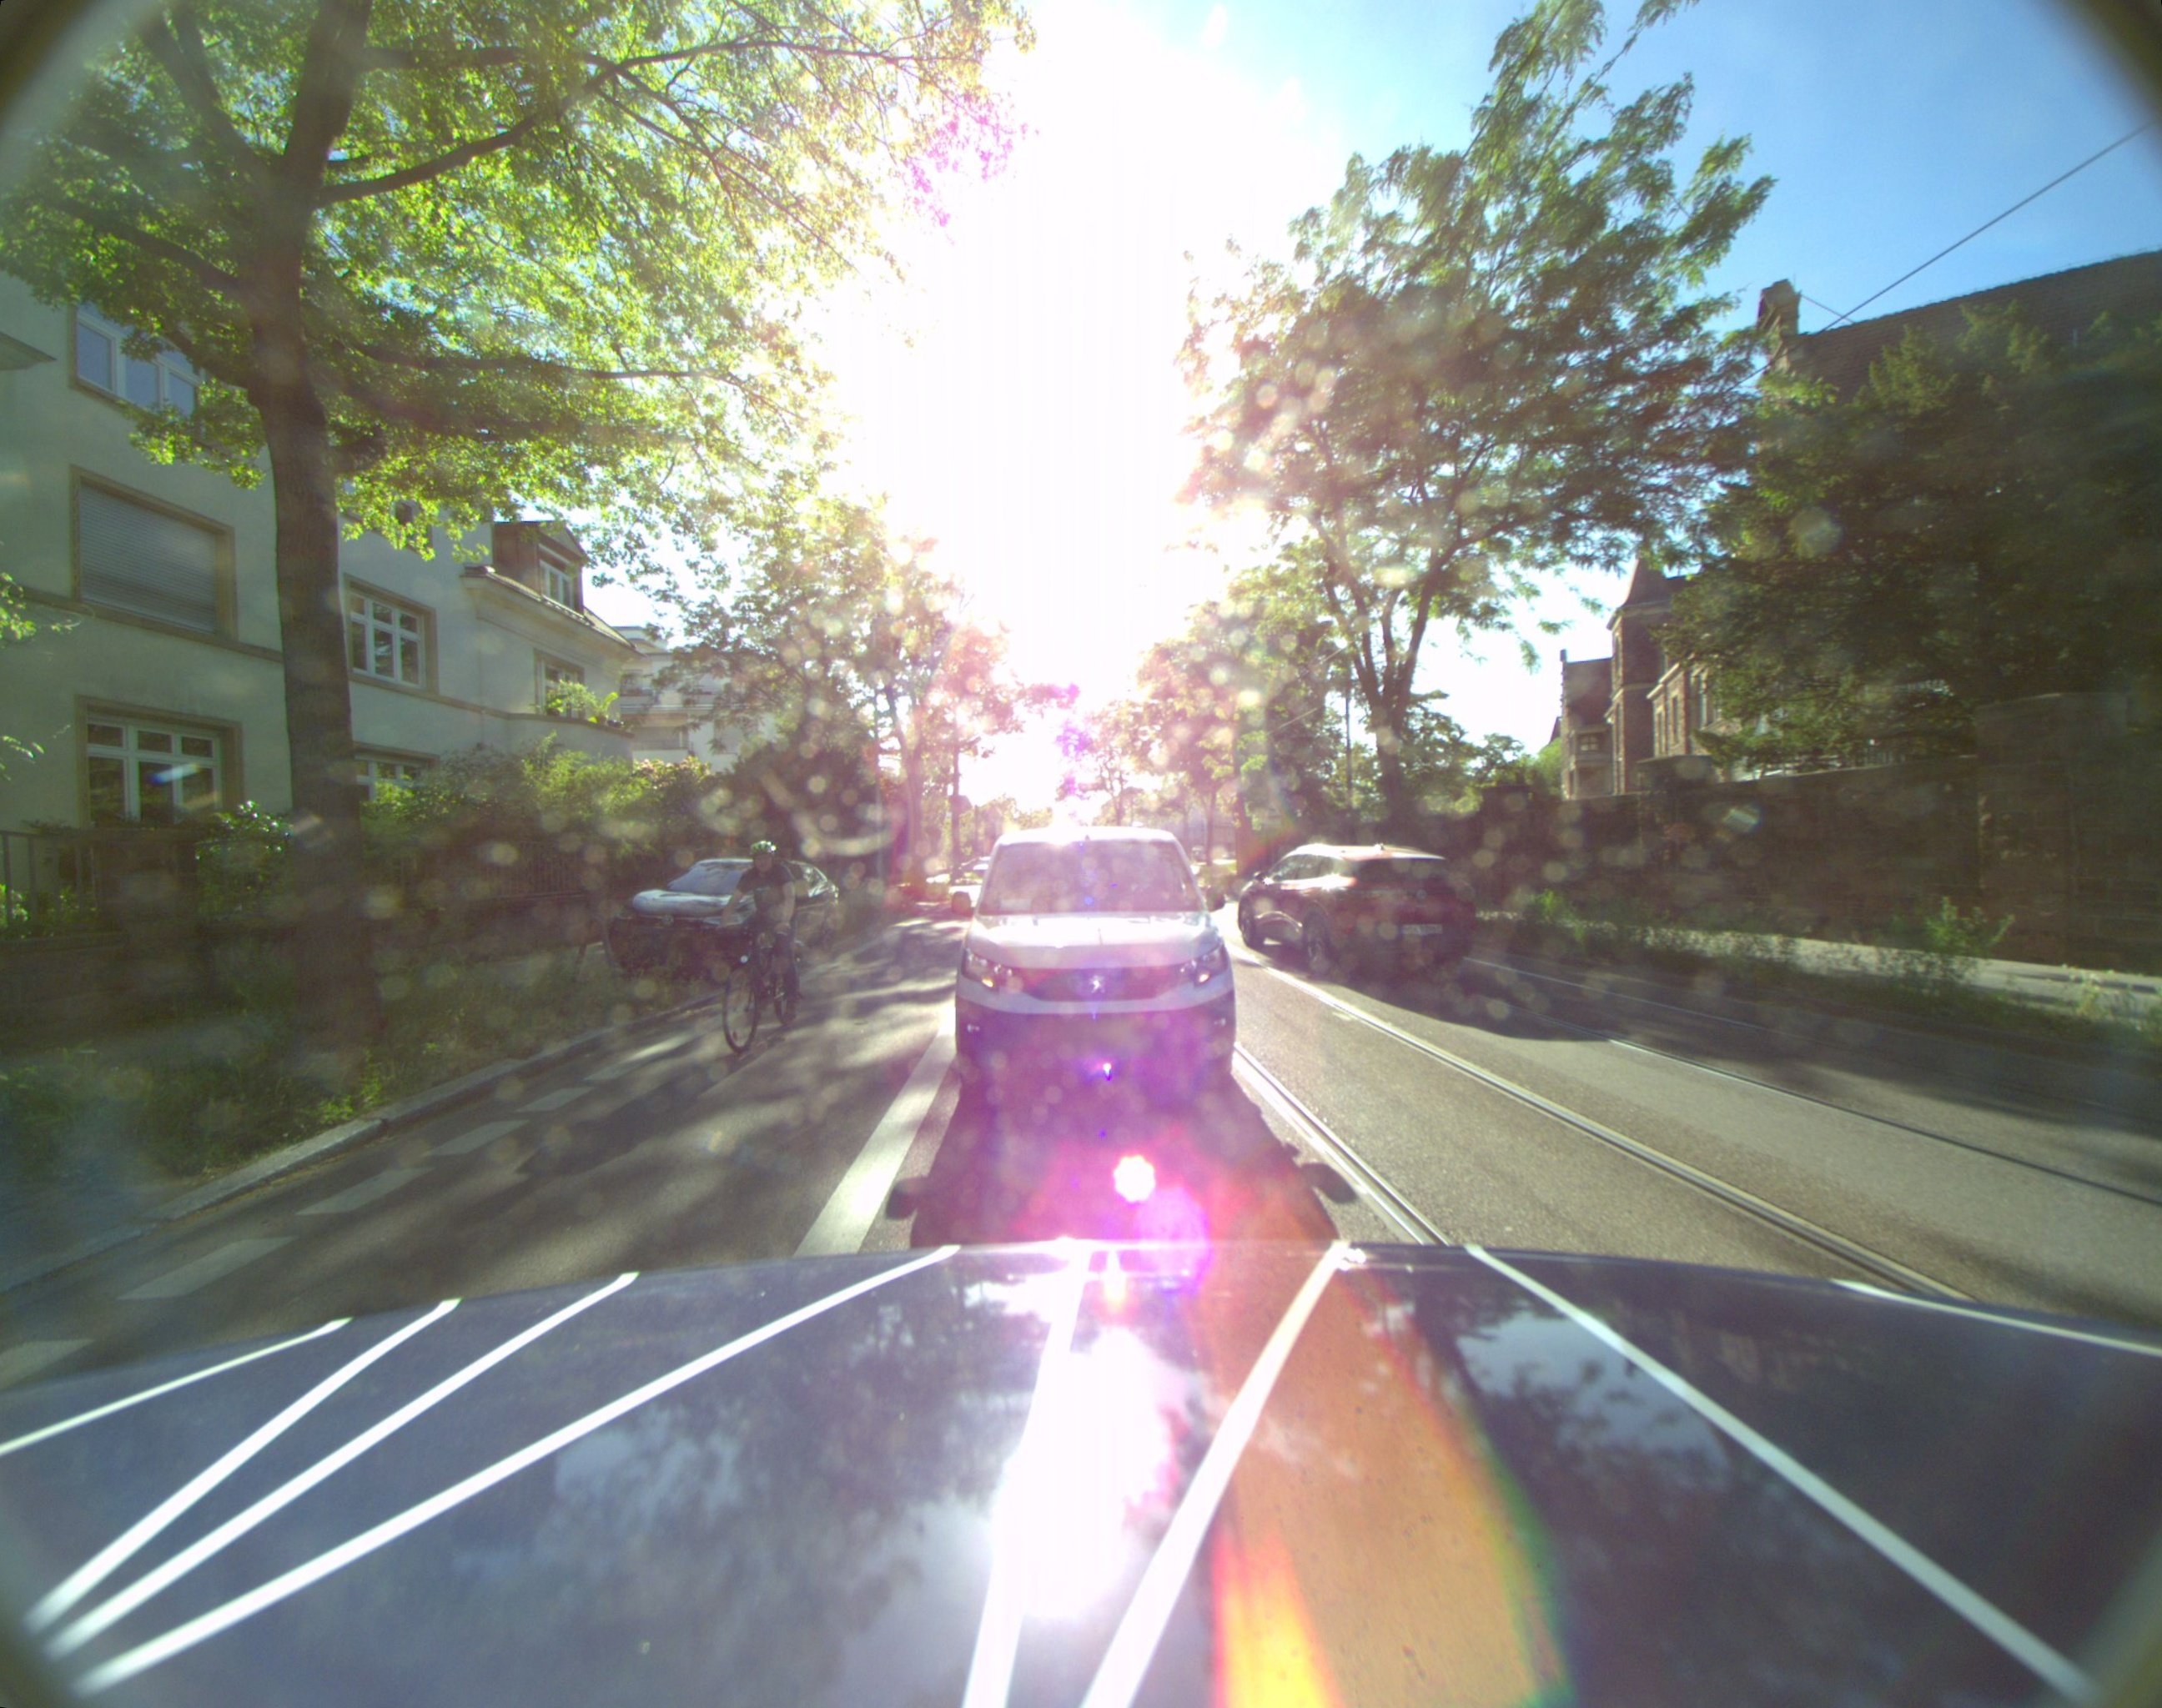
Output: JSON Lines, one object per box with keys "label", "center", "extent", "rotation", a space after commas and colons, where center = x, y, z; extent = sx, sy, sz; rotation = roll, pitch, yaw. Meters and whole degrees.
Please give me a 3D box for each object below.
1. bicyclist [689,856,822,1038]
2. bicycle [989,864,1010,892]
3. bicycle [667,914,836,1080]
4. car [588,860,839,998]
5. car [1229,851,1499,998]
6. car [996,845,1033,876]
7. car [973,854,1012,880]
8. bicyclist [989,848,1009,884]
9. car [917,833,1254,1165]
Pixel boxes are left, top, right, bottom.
{"label": "bicyclist", "center": [-2.891, 0.777, 6.866], "extent": [0.645, 1.479, 1.115], "rotation": [-2, 1, 1]}
{"label": "bicycle", "center": [-3.441, 0.990, 32.078], "extent": [0.644, 1.137, 1.815], "rotation": [-1, 0, 1]}
{"label": "bicycle", "center": [-2.882, 1.197, 6.892], "extent": [0.644, 1.137, 1.902], "rotation": [-1, 0, 1]}
{"label": "car", "center": [-5.180, 0.944, 11.402], "extent": [1.743, 1.597, 4.091], "rotation": [2, 0, 0]}
{"label": "car", "center": [3.645, 0.791, 10.760], "extent": [1.823, 1.597, 4.357], "rotation": [-2, 0, -6]}
{"label": "car", "center": [-4.503, 0.423, 51.928], "extent": [1.998, 2.002, 4.583], "rotation": [-2, 0, 1]}
{"label": "car", "center": [-5.255, 0.746, 45.463], "extent": [1.787, 1.443, 4.000], "rotation": [-2, 0, 1]}
{"label": "bicyclist", "center": [-3.457, 0.513, 32.054], "extent": [0.623, 1.479, 1.115], "rotation": [-2, 0, 1]}
{"label": "car", "center": [0.043, 0.785, 6.535], "extent": [1.793, 1.770, 4.786], "rotation": [-2, 0, 0]}
